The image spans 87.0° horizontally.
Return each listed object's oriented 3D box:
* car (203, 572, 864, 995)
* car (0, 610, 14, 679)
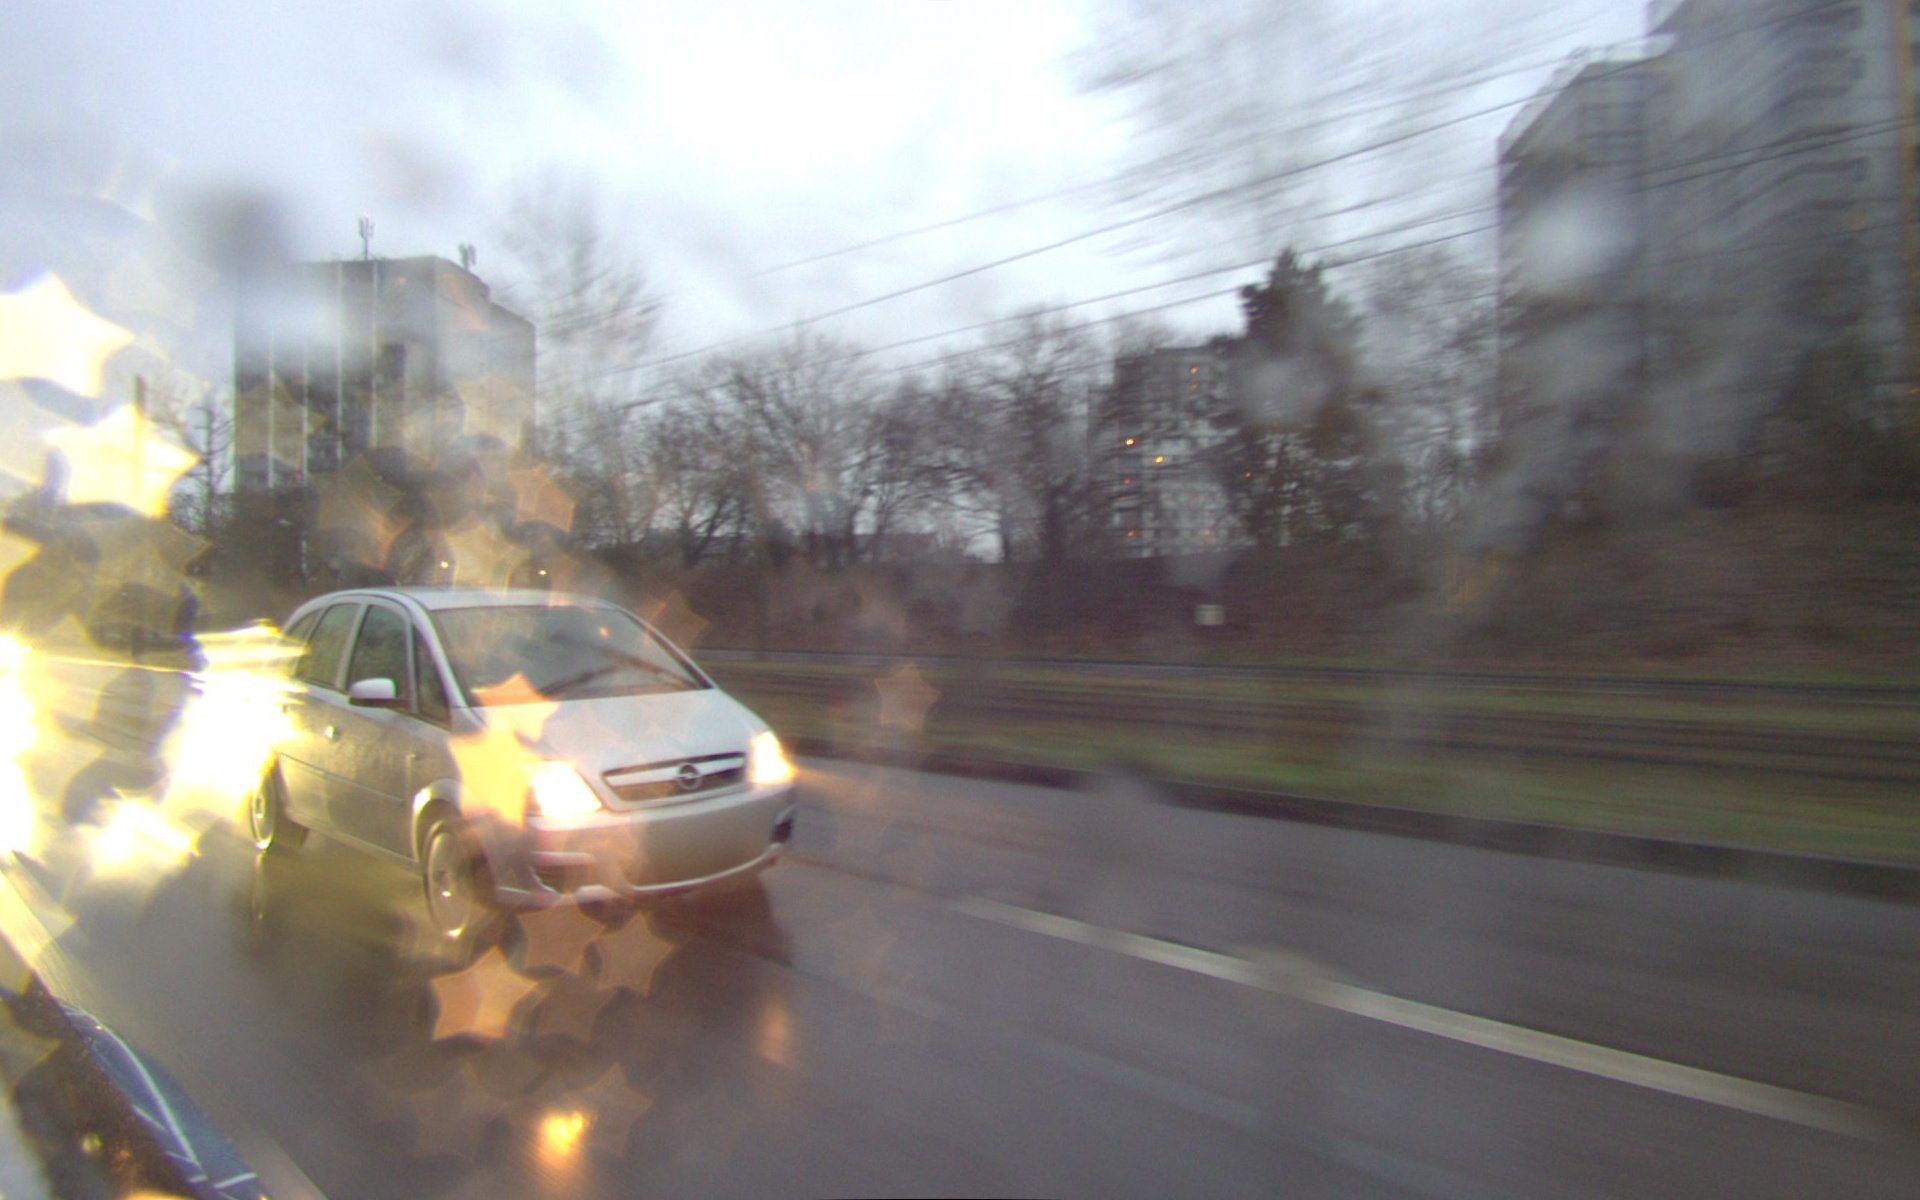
[{"bbox_3d":[-2.626,0.696,5.699,4.186,1.551,1.673,-1,0,39],"label":"car"},{"bbox_3d":[-24.556,1.059,24.446,4.120,1.612,1.929,-1,-2,39],"label":"car"}]
